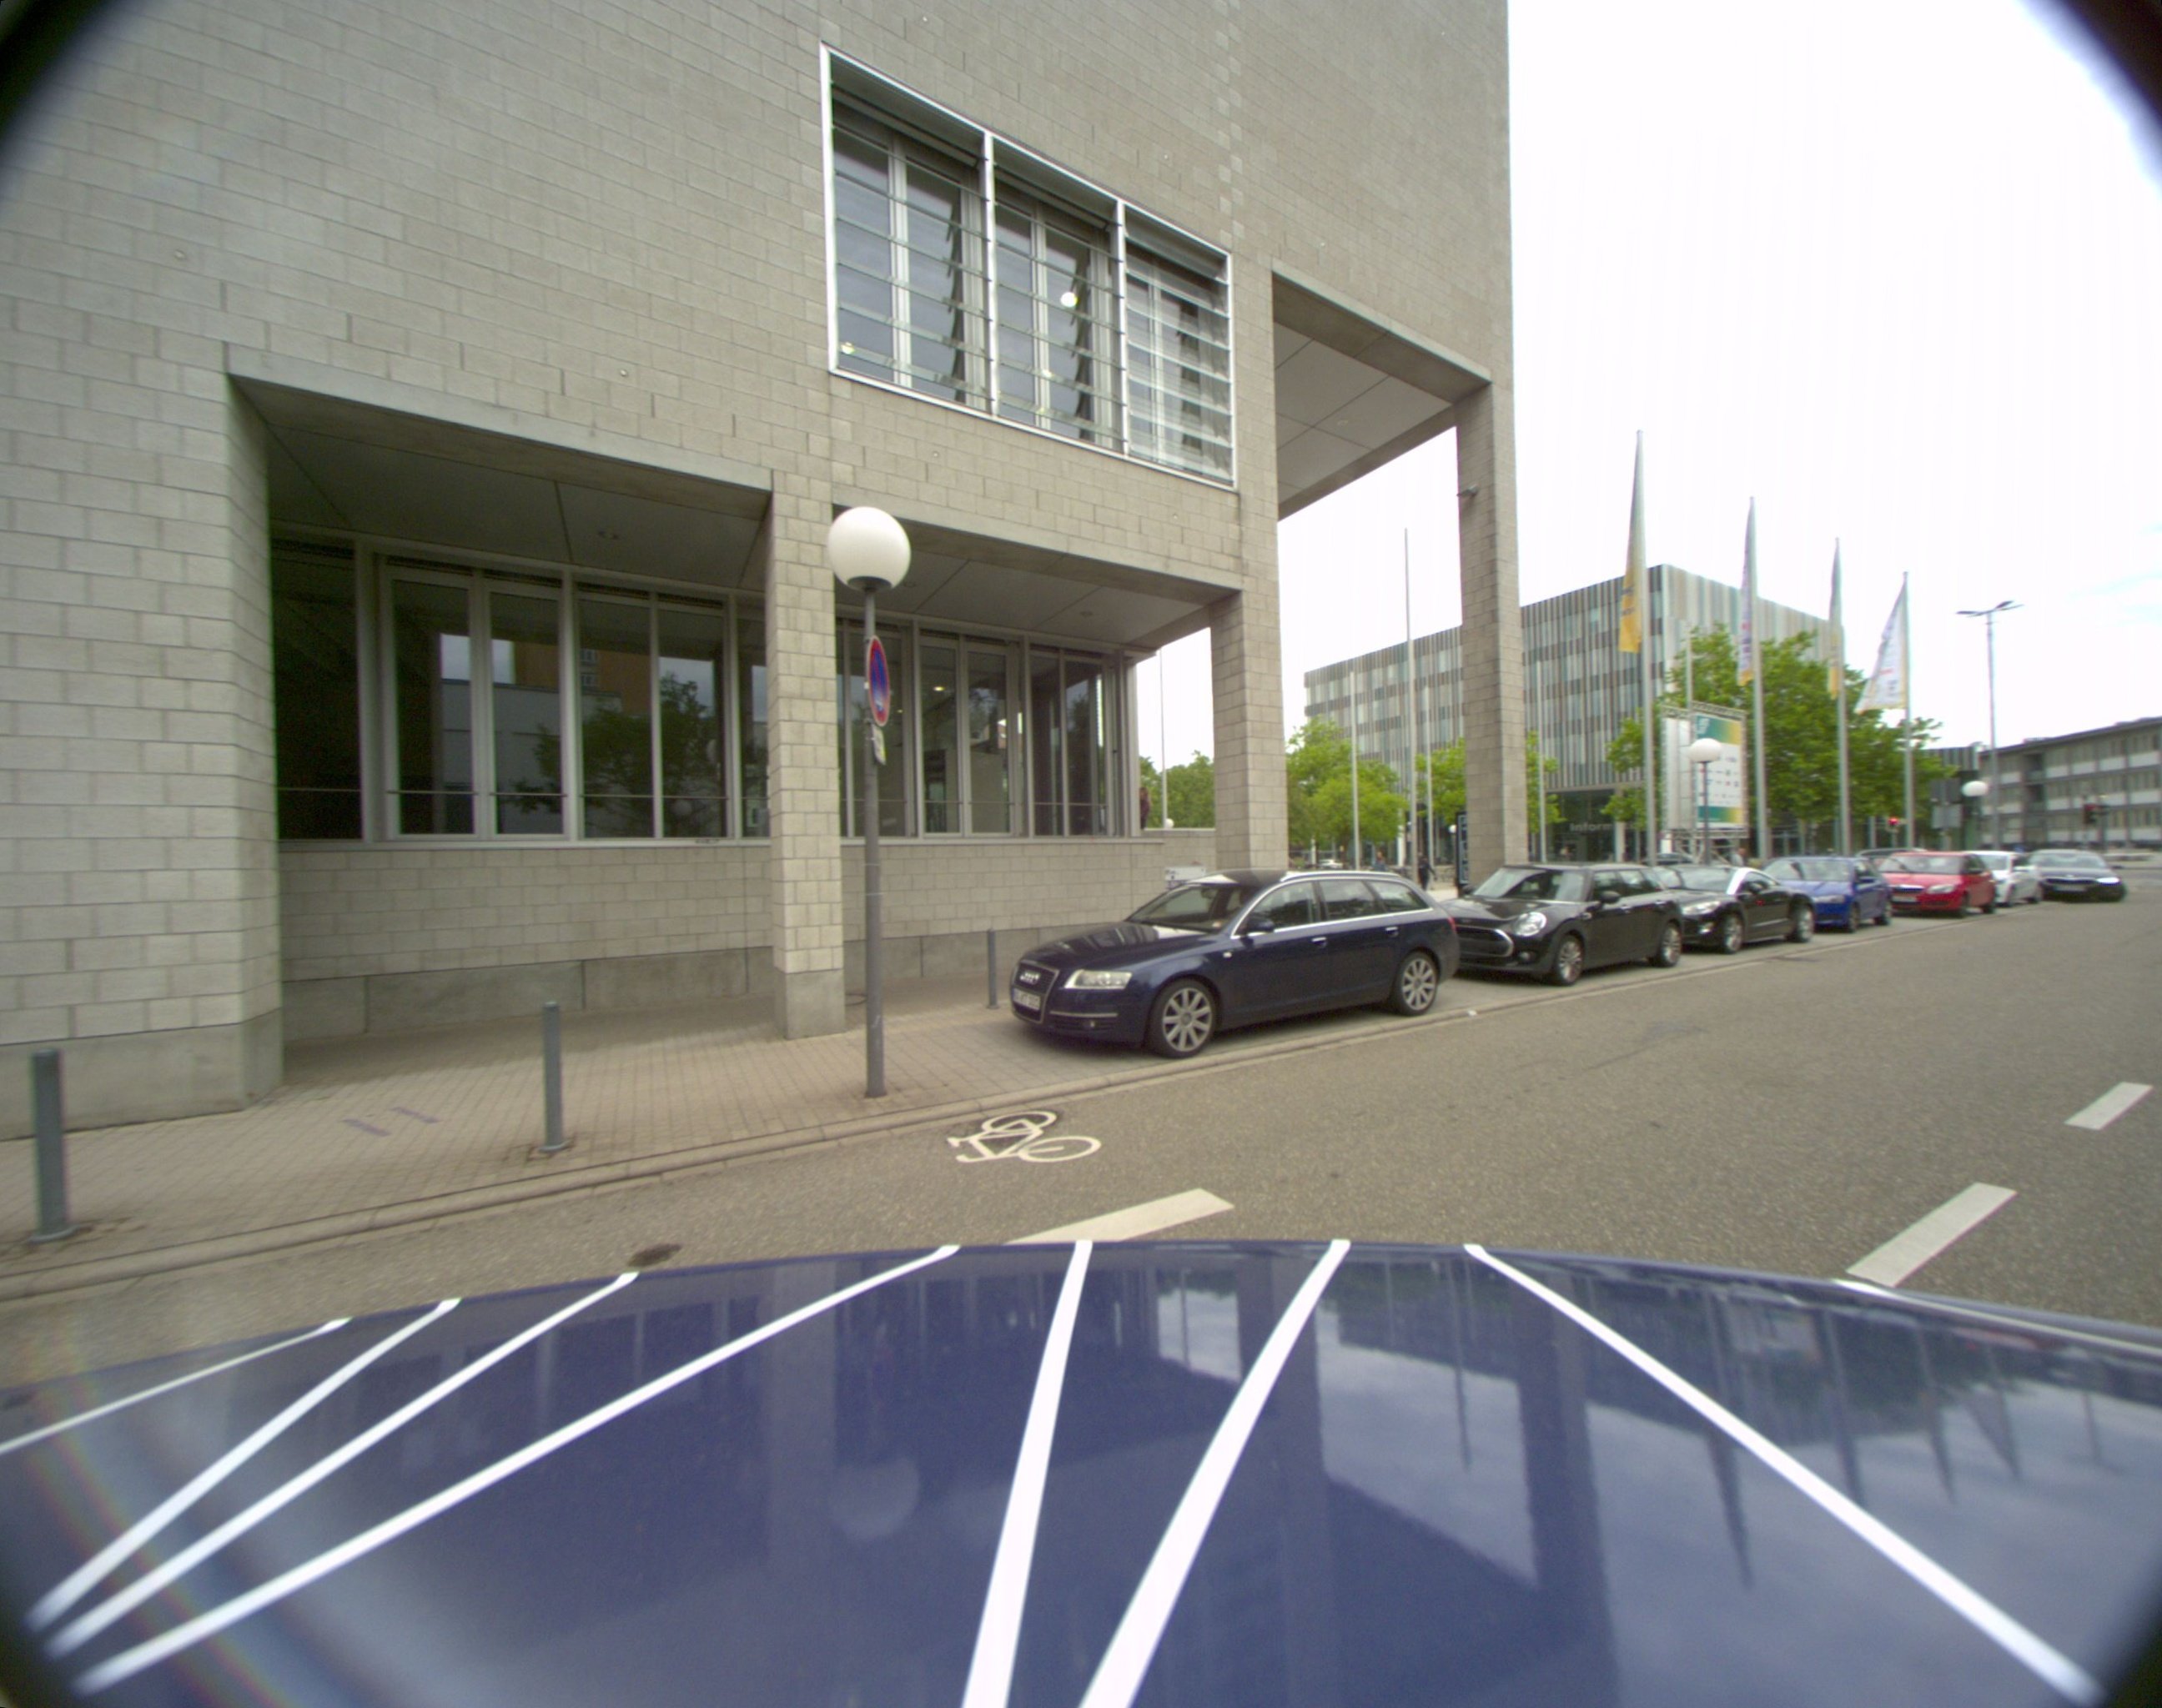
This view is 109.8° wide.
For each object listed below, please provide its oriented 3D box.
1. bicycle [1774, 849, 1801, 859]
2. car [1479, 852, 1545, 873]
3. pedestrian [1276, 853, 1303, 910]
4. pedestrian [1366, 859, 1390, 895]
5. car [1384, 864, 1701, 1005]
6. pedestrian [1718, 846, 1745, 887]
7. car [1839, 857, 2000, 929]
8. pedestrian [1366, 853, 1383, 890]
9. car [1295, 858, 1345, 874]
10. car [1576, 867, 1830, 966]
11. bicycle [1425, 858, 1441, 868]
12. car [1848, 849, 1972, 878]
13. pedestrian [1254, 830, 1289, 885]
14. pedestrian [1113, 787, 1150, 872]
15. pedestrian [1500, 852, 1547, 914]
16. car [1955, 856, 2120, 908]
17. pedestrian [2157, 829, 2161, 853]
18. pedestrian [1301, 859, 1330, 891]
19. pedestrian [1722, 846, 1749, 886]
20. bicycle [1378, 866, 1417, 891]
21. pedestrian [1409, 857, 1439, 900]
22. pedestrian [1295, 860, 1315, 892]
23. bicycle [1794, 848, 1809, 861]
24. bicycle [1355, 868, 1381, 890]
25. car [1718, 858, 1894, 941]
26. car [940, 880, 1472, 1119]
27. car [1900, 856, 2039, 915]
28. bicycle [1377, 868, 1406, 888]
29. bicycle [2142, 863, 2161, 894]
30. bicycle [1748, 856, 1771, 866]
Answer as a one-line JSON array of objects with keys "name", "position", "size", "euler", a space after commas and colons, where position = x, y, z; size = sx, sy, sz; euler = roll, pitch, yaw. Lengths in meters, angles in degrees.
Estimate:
[{"name": "bicycle", "position": [62.608, -0.004, 67.340], "size": [0.483, 0.930, 2.010], "euler": [-2, 0, 2]}, {"name": "car", "position": [34.931, 0.668, 61.651], "size": [2.003, 1.608, 4.184], "euler": [-1, 0, -31]}, {"name": "pedestrian", "position": [6.436, 0.853, 23.460], "size": [0.647, 1.702, 0.782], "euler": [-2, -1, 7]}, {"name": "pedestrian", "position": [14.402, 1.099, 36.865], "size": [0.850, 1.694, 0.971], "euler": [0, 1, 37]}, {"name": "car", "position": [6.373, 0.914, 10.359], "size": [4.528, 1.435, 1.819], "euler": [-1, 1, -32]}, {"name": "pedestrian", "position": [27.716, 0.540, 32.370], "size": [0.679, 1.705, 0.672], "euler": [-1, 0, -34]}, {"name": "car", "position": [20.070, 0.844, 18.155], "size": [4.280, 1.465, 1.713], "euler": [-1, 2, -31]}, {"name": "pedestrian", "position": [14.781, 0.866, 38.235], "size": [0.672, 1.823, 0.511], "euler": [-1, 0, 10]}, {"name": "car", "position": [27.356, 1.407, 87.007], "size": [2.052, 1.687, 5.361], "euler": [2, -3, -33]}, {"name": "car", "position": [10.582, 0.949, 12.868], "size": [4.426, 1.433, 1.850], "euler": [1, -1, -29]}, {"name": "bicycle", "position": [42.420, 1.080, 91.593], "size": [2.108, 1.251, 0.627], "euler": [-1, 0, -32]}, {"name": "car", "position": [45.609, 0.542, 41.897], "size": [2.003, 1.480, 4.282], "euler": [-2, 0, -31]}, {"name": "pedestrian", "position": [6.151, 0.122, 24.484], "size": [0.907, 1.701, 0.696], "euler": [-2, -5, 34]}, {"name": "pedestrian", "position": [1.011, -0.478, 15.441], "size": [0.631, 1.648, 0.807], "euler": [0, -2, -5]}, {"name": "pedestrian", "position": [12.012, 0.788, 20.626], "size": [0.933, 1.630, 0.735], "euler": [1, -2, -32]}, {"name": "car", "position": [29.053, 0.770, 23.286], "size": [1.861, 1.393, 4.488], "euler": [0, 1, 34]}, {"name": "pedestrian", "position": [76.006, -0.925, 52.852], "size": [0.950, 1.704, 0.906], "euler": [-2, 1, 8]}, {"name": "pedestrian", "position": [10.669, 0.949, 34.632], "size": [0.971, 1.412, 0.850], "euler": [-2, 0, -41]}, {"name": "pedestrian", "position": [28.581, 0.517, 33.202], "size": [0.657, 1.705, 0.586], "euler": [-1, 0, 10]}, {"name": "bicycle", "position": [15.012, 1.184, 36.018], "size": [2.419, 1.162, 0.456], "euler": [2, -3, -35]}, {"name": "pedestrian", "position": [13.407, 0.942, 29.729], "size": [0.706, 1.660, 0.756], "euler": [-1, 0, -28]}, {"name": "pedestrian", "position": [9.982, 0.992, 33.871], "size": [0.672, 1.405, 0.771], "euler": [-2, 0, 28]}, {"name": "bicycle", "position": [58.178, 0.055, 61.357], "size": [0.482, 1.039, 1.787], "euler": [-1, 1, 31]}, {"name": "bicycle", "position": [14.819, 1.277, 39.169], "size": [1.939, 1.043, 0.456], "euler": [0, 0, -44]}, {"name": "car", "position": [14.977, 0.836, 15.627], "size": [4.384, 1.403, 1.696], "euler": [-1, 1, -34]}, {"name": "car", "position": [1.352, 1.080, 7.369], "size": [4.930, 1.443, 1.995], "euler": [-1, 0, -30]}, {"name": "car", "position": [24.741, 0.816, 21.148], "size": [3.865, 1.444, 1.862], "euler": [-1, 0, -31]}, {"name": "bicycle", "position": [16.987, 1.281, 41.536], "size": [1.939, 1.043, 0.456], "euler": [0, 0, -35]}, {"name": "bicycle", "position": [39.185, 0.872, 26.889], "size": [0.878, 1.086, 1.796], "euler": [0, -1, -43]}, {"name": "bicycle", "position": [60.952, 0.641, 68.261], "size": [0.483, 0.930, 2.011], "euler": [-1, 0, 10]}]
